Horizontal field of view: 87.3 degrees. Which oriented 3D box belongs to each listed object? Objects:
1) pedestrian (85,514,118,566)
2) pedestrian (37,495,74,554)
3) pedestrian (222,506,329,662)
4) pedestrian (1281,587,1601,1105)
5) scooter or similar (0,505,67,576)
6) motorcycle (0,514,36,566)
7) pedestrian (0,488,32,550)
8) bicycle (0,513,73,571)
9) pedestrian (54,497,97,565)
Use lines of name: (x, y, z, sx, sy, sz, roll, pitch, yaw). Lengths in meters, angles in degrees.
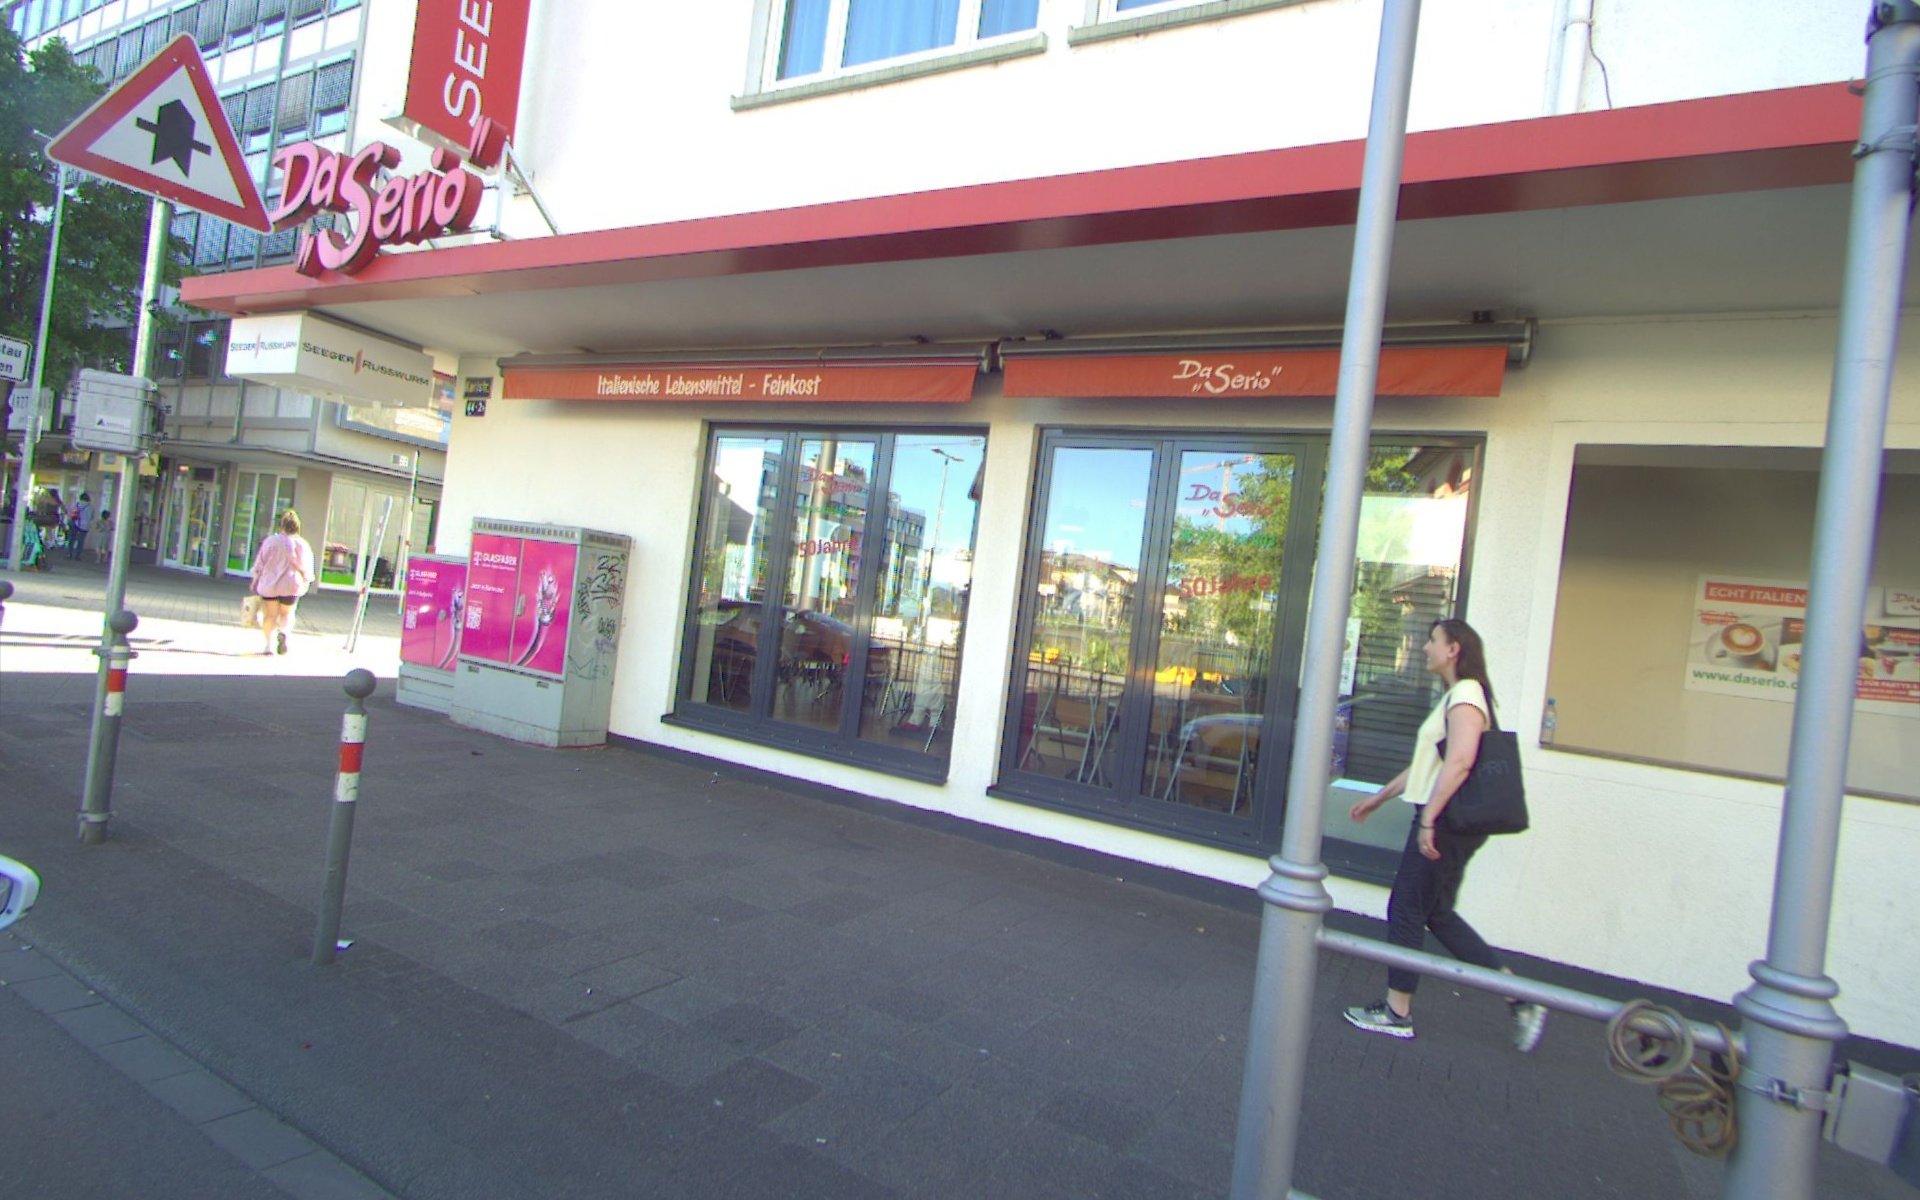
pedestrian: (-22.594, -1.582, 26.469, 0.522, 1.296, 0.420, 7, 0, 32)
pedestrian: (-26.544, -2.214, 29.522, 0.584, 1.661, 0.532, 7, 0, 31)
pedestrian: (-8.150, -0.182, 11.983, 0.814, 1.701, 0.707, 10, -3, -37)
pedestrian: (2.024, 0.918, 4.208, 0.918, 1.796, 0.804, 7, 0, 35)
scooter or similar: (-19.746, -1.254, 21.037, 0.683, 1.332, 1.415, 6, -2, 5)
motorcycle: (-23.175, -1.544, 23.599, 0.586, 1.140, 1.997, 7, -4, 30)
pedestrian: (-26.888, -2.305, 28.560, 0.596, 1.661, 0.532, 7, 0, 31)
bicycle: (-21.455, -1.357, 22.660, 0.475, 1.134, 2.056, 7, -2, 31)
pedestrian: (-22.862, -1.779, 26.006, 0.458, 1.661, 0.596, 7, 0, 31)
